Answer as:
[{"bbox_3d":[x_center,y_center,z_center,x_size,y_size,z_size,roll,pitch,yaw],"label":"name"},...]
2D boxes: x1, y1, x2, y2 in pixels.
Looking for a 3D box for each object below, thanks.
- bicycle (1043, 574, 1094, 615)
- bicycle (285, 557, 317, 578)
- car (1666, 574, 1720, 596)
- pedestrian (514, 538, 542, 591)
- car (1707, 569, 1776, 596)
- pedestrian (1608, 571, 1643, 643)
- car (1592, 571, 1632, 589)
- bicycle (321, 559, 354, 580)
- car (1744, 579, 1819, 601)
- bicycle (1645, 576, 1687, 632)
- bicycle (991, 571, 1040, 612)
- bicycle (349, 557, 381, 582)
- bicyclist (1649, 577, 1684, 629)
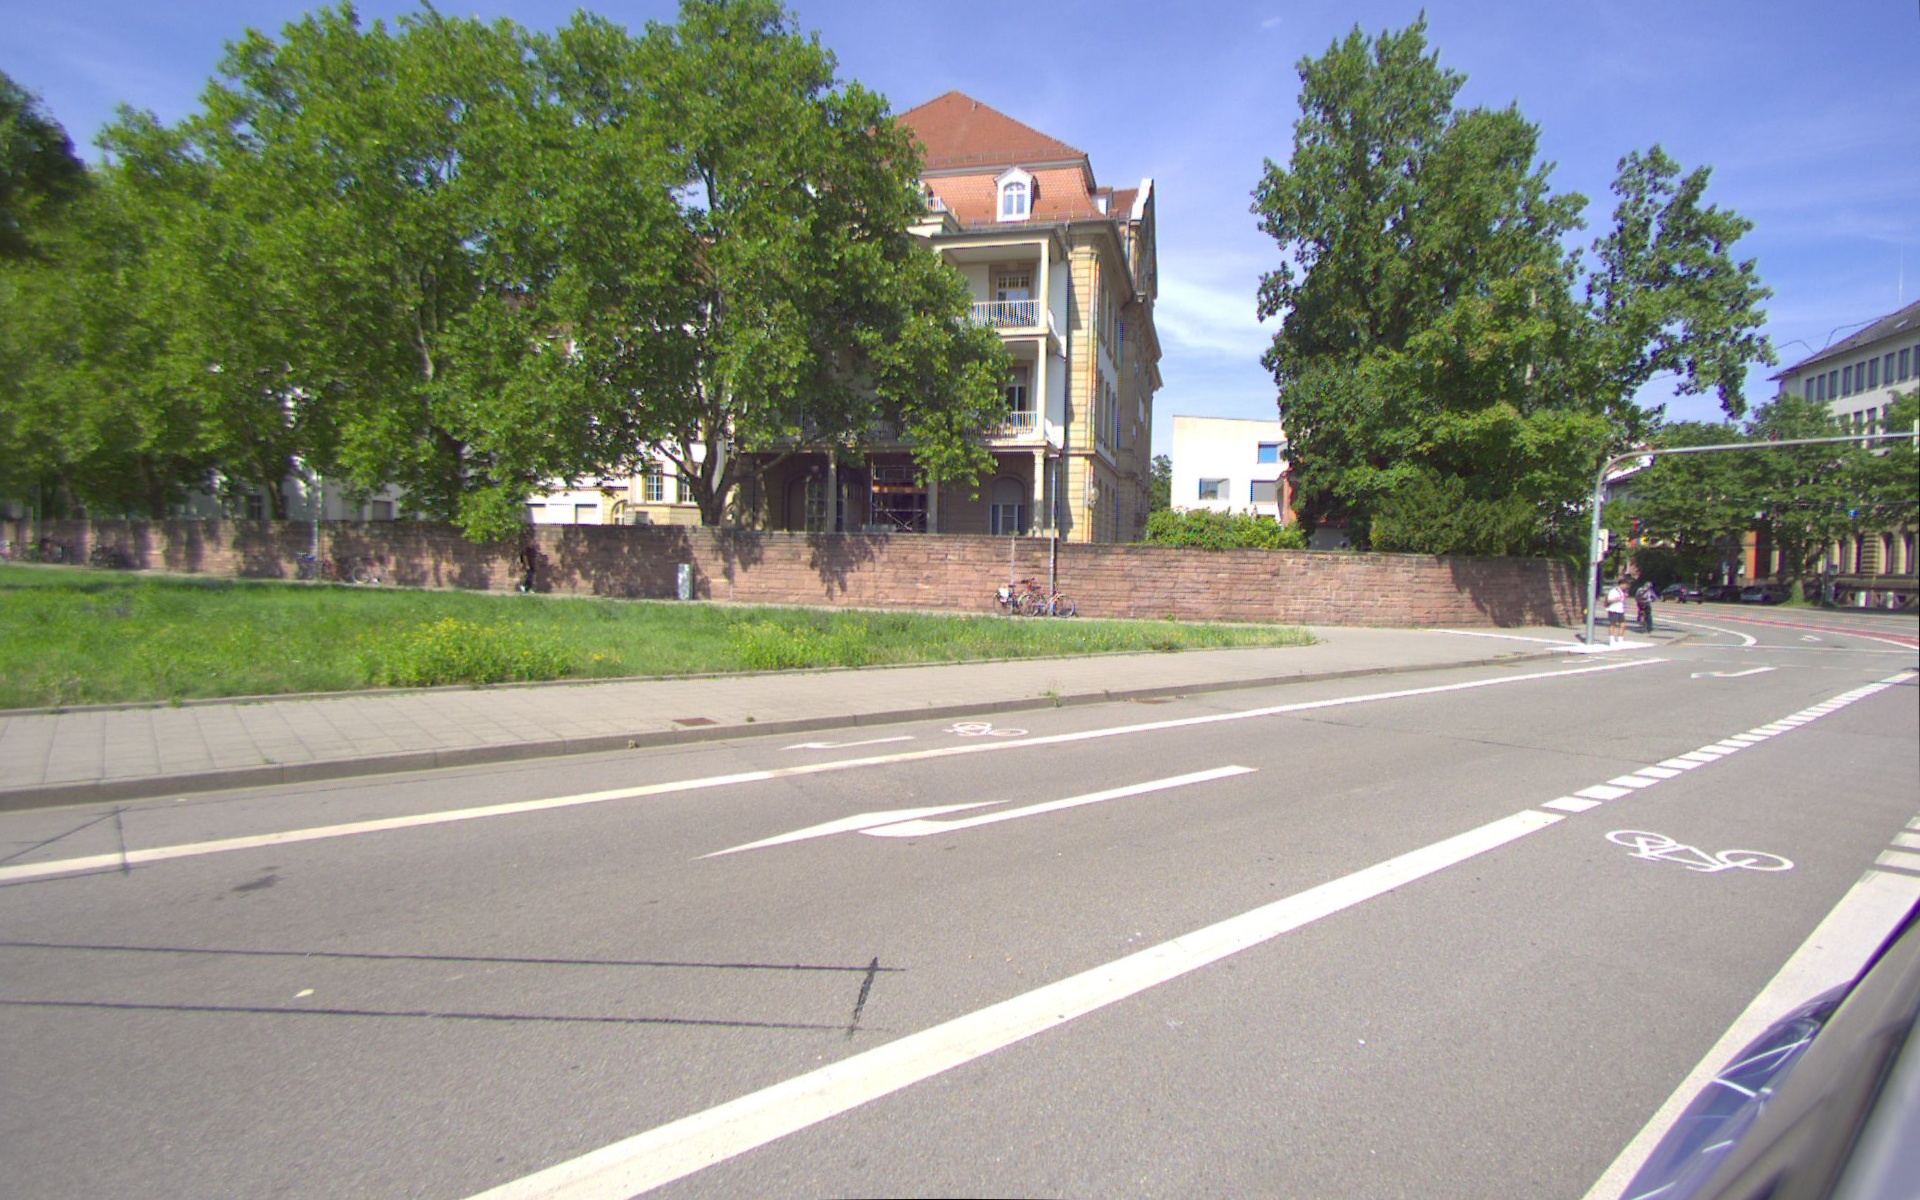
[{"bbox_3d":[3.159,-0.173,29.433,1.406,1.136,0.350,1,2,-6],"label":"bicycle"},{"bbox_3d":[-24.998,-1.239,38.375,1.350,0.737,0.338,3,2,23],"label":"bicycle"},{"bbox_3d":[55.217,-1.165,76.349,1.644,1.468,3.810,3,3,8],"label":"car"},{"bbox_3d":[-14.464,-1.185,33.860,0.592,1.761,0.616,2,2,20],"label":"pedestrian"},{"bbox_3d":[64.622,-1.462,83.780,3.941,2.038,1.992,2,2,14],"label":"car"},{"bbox_3d":[18.189,0.175,27.688,0.649,1.897,0.788,4,3,31],"label":"pedestrian"},{"bbox_3d":[60.069,-1.868,93.295,1.773,1.429,3.985,3,3,13],"label":"car"},{"bbox_3d":[-23.246,-1.145,37.807,1.350,0.737,0.338,3,2,23],"label":"bicycle"},{"bbox_3d":[64.101,-0.781,79.021,3.941,1.482,1.992,2,2,14],"label":"car"},{"bbox_3d":[23.506,0.115,33.691,1.779,1.787,0.679,0,3,-41],"label":"bicycle"},{"bbox_3d":[1.609,-0.243,29.340,1.406,1.136,0.350,1,2,-27],"label":"bicycle"},{"bbox_3d":[-21.911,-1.131,37.250,1.294,0.866,0.369,3,2,25],"label":"bicycle"},{"bbox_3d":[23.561,0.081,33.753,0.903,1.675,0.679,0,2,-41],"label":"bicyclist"}]
